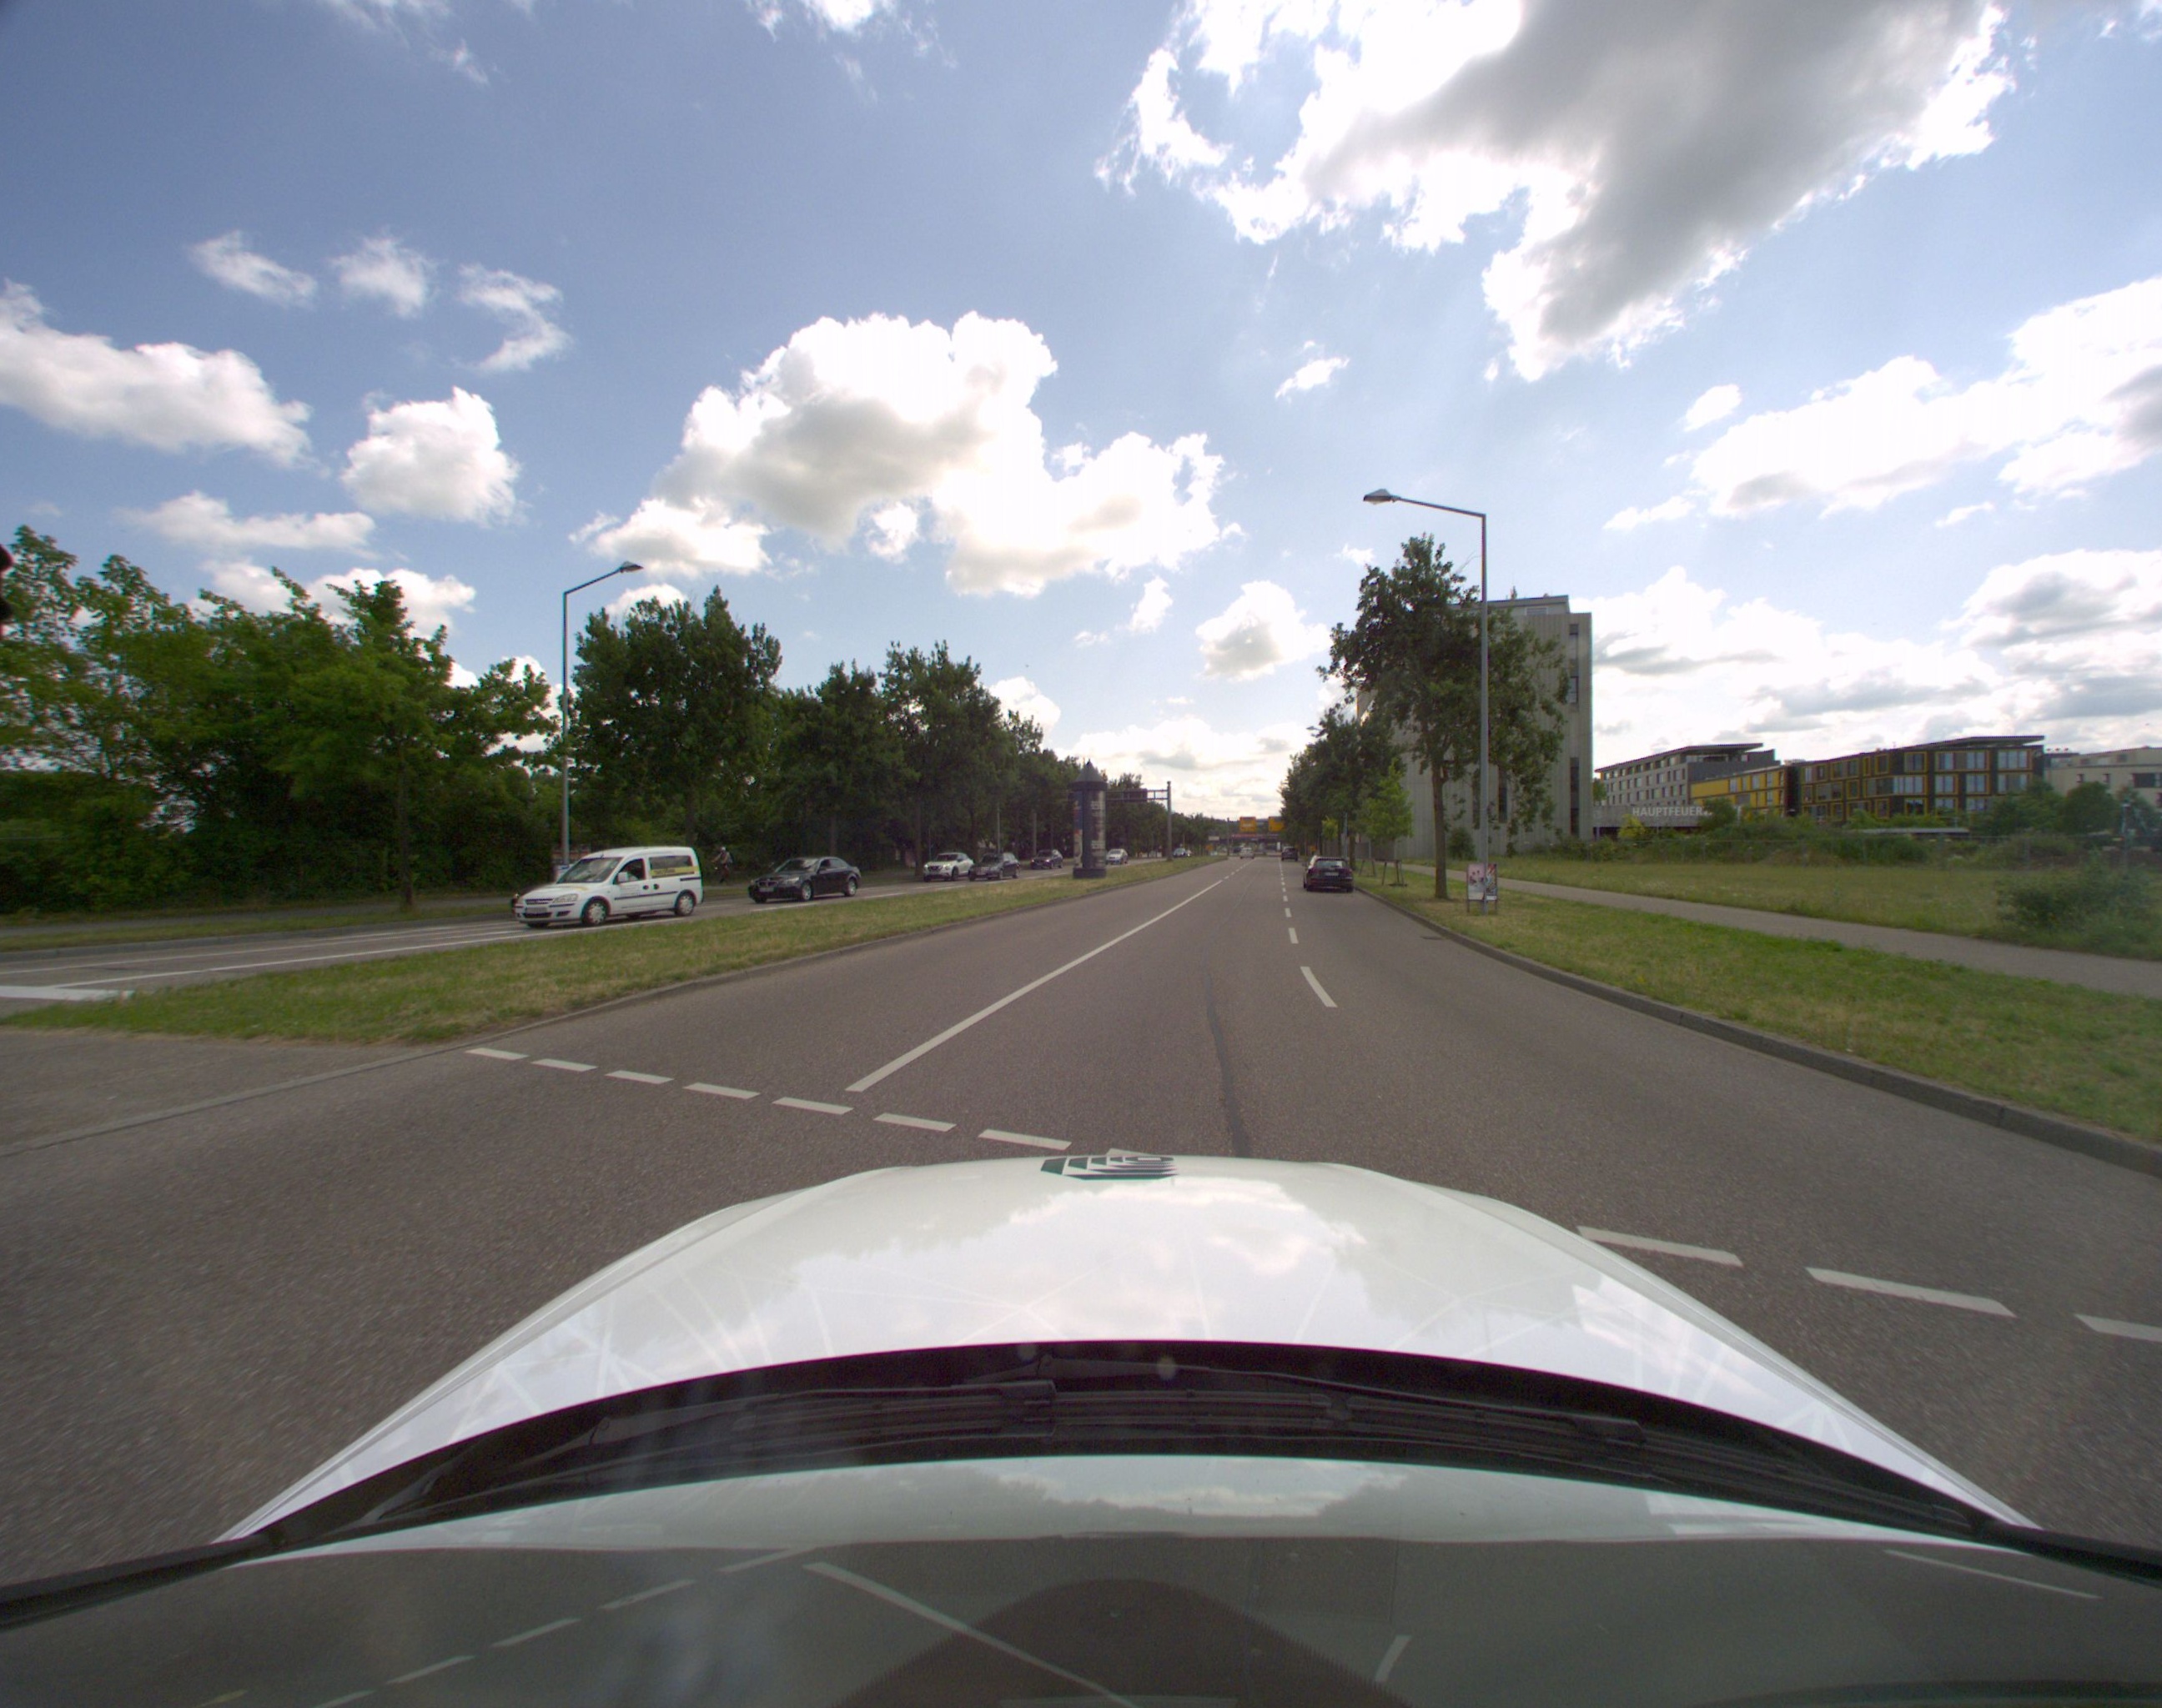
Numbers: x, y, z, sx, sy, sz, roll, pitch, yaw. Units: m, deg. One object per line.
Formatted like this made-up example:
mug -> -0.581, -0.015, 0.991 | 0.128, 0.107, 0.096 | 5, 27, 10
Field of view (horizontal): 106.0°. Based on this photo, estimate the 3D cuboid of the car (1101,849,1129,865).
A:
car -> 3.254, 0.300, 76.654 | 1.751, 1.440, 4.325 | -1, 0, 14

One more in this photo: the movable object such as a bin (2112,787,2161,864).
movable object such as a bin -> 59.677, -1.459, 44.850 | 7.645, 3.853, 3.017 | 2, -1, -34

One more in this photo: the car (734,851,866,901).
car -> -9.174, 0.665, 27.108 | 1.825, 1.480, 4.770 | -2, -1, 14

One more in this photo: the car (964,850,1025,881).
car -> -4.635, 0.594, 44.461 | 1.710, 1.591, 5.031 | -1, 0, 13

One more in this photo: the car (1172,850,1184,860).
car -> 15.748, 0.161, 131.903 | 1.731, 1.569, 4.287 | -2, 0, 9

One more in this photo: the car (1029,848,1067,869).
car -> -2.640, 0.338, 66.556 | 1.751, 1.577, 5.049 | -1, 0, 13

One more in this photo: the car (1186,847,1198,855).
car -> 20.910, -0.605, 153.782 | 1.729, 1.545, 4.591 | -2, 0, 14

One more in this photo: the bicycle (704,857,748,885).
bicycle -> -16.333, 0.786, 37.497 | 0.755, 1.219, 2.024 | 2, 0, 13

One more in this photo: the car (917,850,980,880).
car -> -7.288, 0.589, 45.175 | 1.896, 1.540, 4.384 | -1, 0, 13

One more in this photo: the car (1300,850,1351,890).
car -> 9.878, 0.610, 33.116 | 1.672, 1.463, 4.013 | 1, 0, 12

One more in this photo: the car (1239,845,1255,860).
car -> 22.048, -0.194, 108.218 | 1.981, 2.013, 4.012 | 1, 0, 11

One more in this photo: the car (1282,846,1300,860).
car -> 24.188, -0.120, 93.827 | 1.979, 1.626, 4.326 | 0, 0, 14

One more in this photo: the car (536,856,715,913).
car -> -13.011, 0.811, 23.606 | 1.823, 1.443, 4.439 | -2, -1, 18

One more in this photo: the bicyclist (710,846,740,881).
bicyclist -> -16.344, 0.422, 37.391 | 0.824, 1.565, 0.887 | 2, 0, 13

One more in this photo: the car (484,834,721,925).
car -> -10.760, 0.528, 18.838 | 1.824, 1.799, 4.806 | -2, -1, 14
